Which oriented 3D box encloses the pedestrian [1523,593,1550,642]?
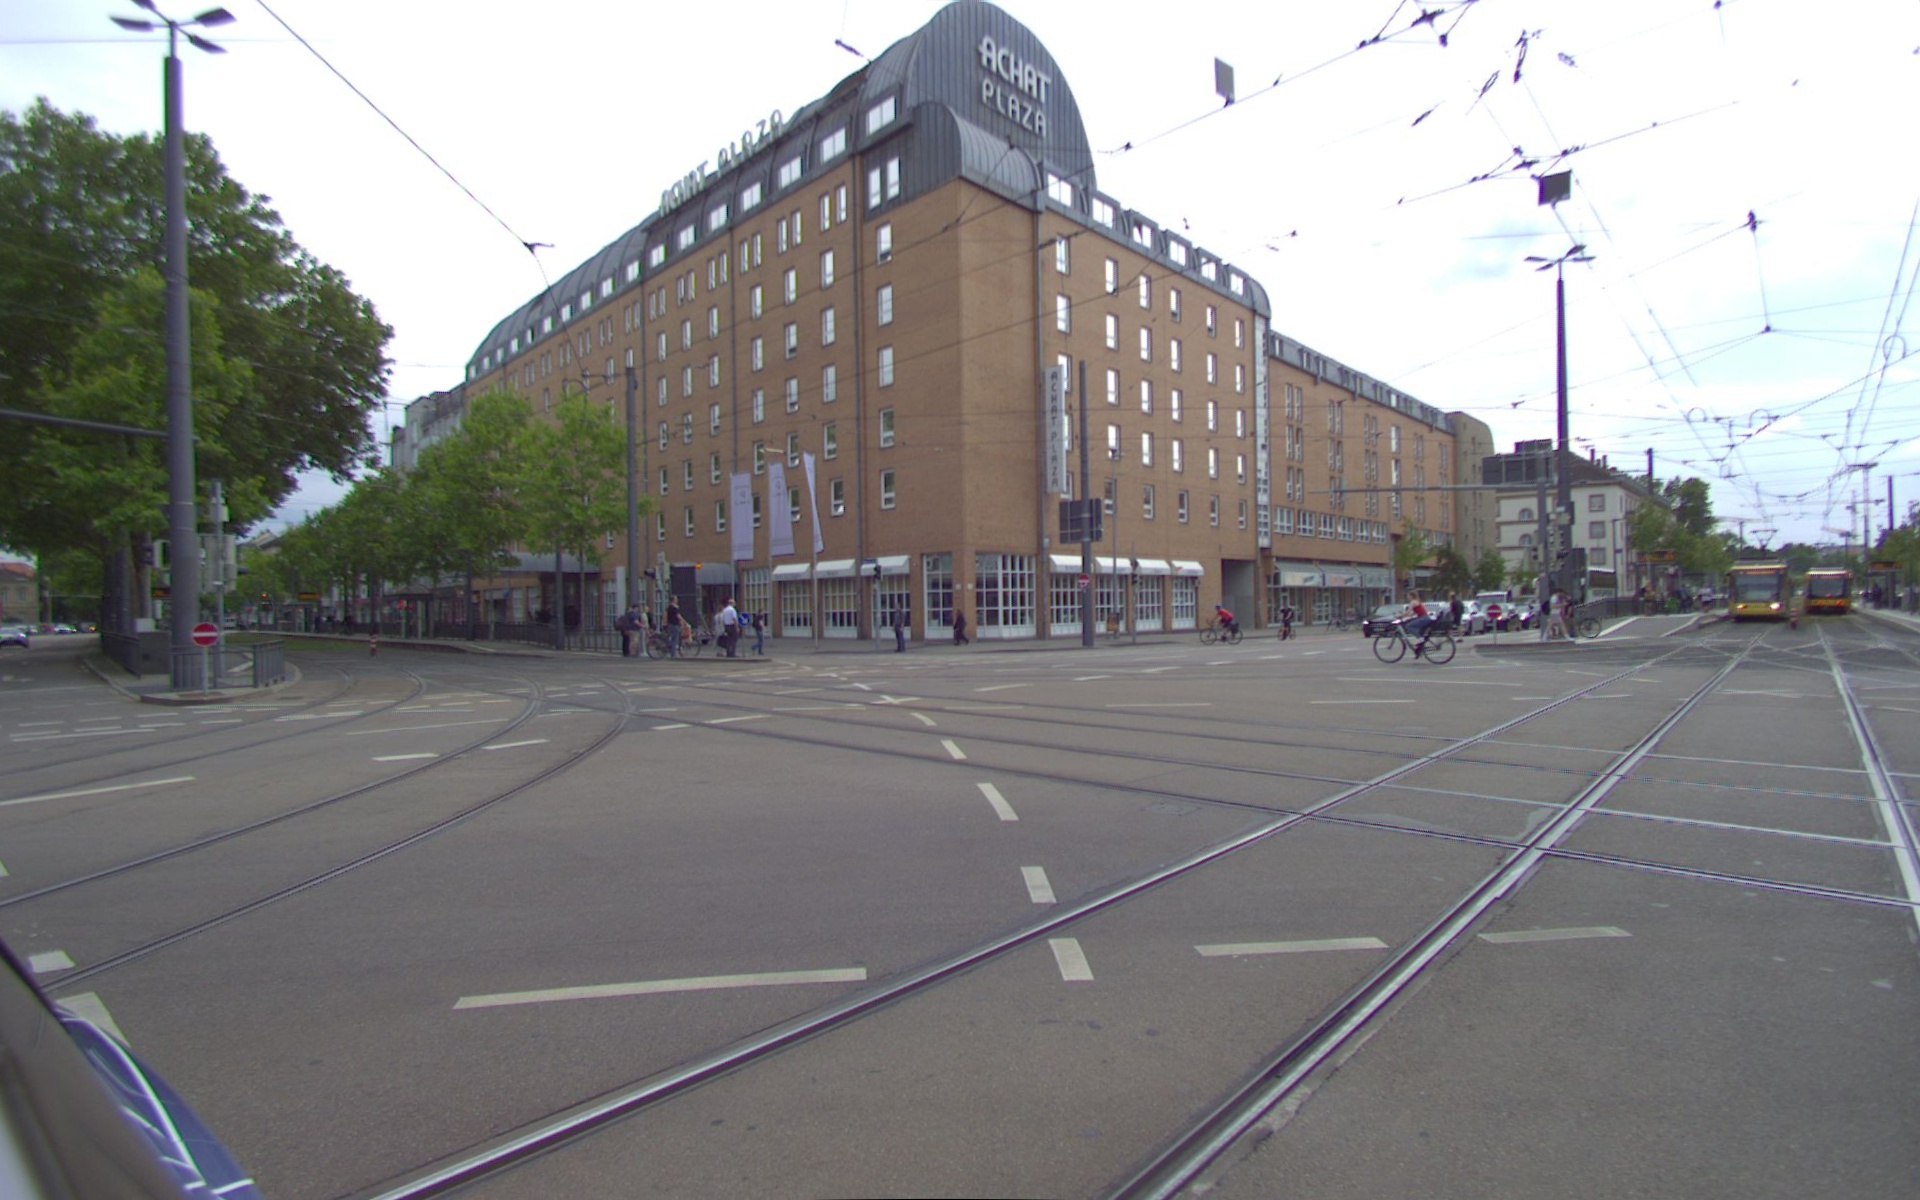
[{"bbox_3d":[21.060,0.639,36.969,0.749,1.745,0.571,-2,-1,36],"label":"pedestrian"}]

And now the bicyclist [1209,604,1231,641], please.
[{"bbox_3d":[10.860,0.944,42.304,0.858,1.512,0.633,-1,-1,17],"label":"bicyclist"}]

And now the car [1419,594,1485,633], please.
[{"bbox_3d":[22.466,0.615,46.143,1.799,1.696,3.947,-2,-1,40],"label":"car"}]

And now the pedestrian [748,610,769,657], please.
[{"bbox_3d":[-7.439,1.229,37.403,0.555,1.719,0.535,0,-1,-44],"label":"pedestrian"}]

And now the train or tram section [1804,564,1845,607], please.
[{"bbox_3d":[74.061,-1.196,86.704,2.429,3.459,10.379,-3,-2,41],"label":"train or tram section"}]

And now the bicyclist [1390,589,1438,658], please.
[{"bbox_3d":[10.255,0.528,22.858,0.816,1.512,0.643,-2,-1,38],"label":"bicyclist"}]

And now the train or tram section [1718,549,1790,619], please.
[{"bbox_3d":[43.688,-0.829,55.573,2.575,3.477,9.478,-3,-2,41],"label":"train or tram section"}]

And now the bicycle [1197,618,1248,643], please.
[{"bbox_3d":[10.958,1.274,42.266,2.042,1.016,0.636,-1,-1,17],"label":"bicycle"}]

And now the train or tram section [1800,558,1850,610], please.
[{"bbox_3d":[62.441,-1.080,73.089,2.450,3.477,9.478,-3,-2,41],"label":"train or tram section"}]

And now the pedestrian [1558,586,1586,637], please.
[{"bbox_3d":[21.197,0.389,35.060,0.749,1.745,0.571,-2,-1,36],"label":"pedestrian"}]

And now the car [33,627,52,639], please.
[{"bbox_3d":[-138.000,4.908,152.170,3.998,1.722,1.646,-2,-1,41],"label":"car"}]

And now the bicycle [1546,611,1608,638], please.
[{"bbox_3d":[21.793,0.869,35.775,1.791,0.895,0.474,-2,-1,41],"label":"bicycle"}]

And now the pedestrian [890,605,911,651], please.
[{"bbox_3d":[-2.276,1.066,38.431,0.535,1.719,0.556,-2,-1,43],"label":"pedestrian"}]

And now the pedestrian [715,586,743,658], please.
[{"bbox_3d":[-6.974,0.663,30.561,0.533,2.146,0.557,-2,-1,34],"label":"pedestrian"}]

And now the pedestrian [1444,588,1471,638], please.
[{"bbox_3d":[17.789,0.467,36.161,0.749,1.745,0.571,-2,-1,36],"label":"pedestrian"}]

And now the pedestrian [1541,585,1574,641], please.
[{"bbox_3d":[18.900,0.415,32.008,0.751,1.745,0.570,-2,-1,41],"label":"pedestrian"}]

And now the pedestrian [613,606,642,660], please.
[{"bbox_3d":[-10.719,1.064,32.655,0.533,1.719,0.676,-2,-1,34],"label":"pedestrian"}]

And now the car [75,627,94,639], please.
[{"bbox_3d":[-131.274,5.012,151.735,3.998,1.722,1.646,-2,-1,41],"label":"car"}]

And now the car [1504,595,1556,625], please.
[{"bbox_3d":[30.475,0.523,54.096,1.701,1.453,3.947,-3,-1,39],"label":"car"}]

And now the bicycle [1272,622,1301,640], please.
[{"bbox_3d":[15.129,1.445,46.846,0.639,0.787,1.773,-2,-1,40],"label":"bicycle"}]

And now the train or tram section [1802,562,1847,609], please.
[{"bbox_3d":[68.002,-1.122,79.603,2.441,3.466,8.055,-3,-2,41],"label":"train or tram section"}]

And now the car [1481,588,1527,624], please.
[{"bbox_3d":[35.264,0.351,65.508,1.701,2.247,4.771,-2,-1,39],"label":"car"}]

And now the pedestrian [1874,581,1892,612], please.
[{"bbox_3d":[62.117,-0.259,68.122,0.780,2.029,1.213,-3,-1,42],"label":"pedestrian"}]

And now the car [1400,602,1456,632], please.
[{"bbox_3d":[24.515,0.876,52.996,1.701,1.453,3.947,-2,-1,40],"label":"car"}]

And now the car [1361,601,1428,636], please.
[{"bbox_3d":[20.400,0.860,47.490,1.799,1.490,3.947,-3,-1,40],"label":"car"}]

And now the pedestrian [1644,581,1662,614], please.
[{"bbox_3d":[32.605,-0.130,47.630,0.654,1.548,0.486,-2,-1,37],"label":"pedestrian"}]

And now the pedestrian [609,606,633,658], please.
[{"bbox_3d":[-11.491,1.074,34.312,0.533,1.719,0.557,-2,-1,34],"label":"pedestrian"}]

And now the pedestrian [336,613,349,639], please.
[{"bbox_3d":[-41.869,1.784,68.644,0.639,1.719,0.625,-1,-2,-42],"label":"pedestrian"}]

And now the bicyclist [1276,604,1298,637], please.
[{"bbox_3d":[15.156,0.953,46.878,0.636,1.512,0.854,-2,-1,40],"label":"bicyclist"}]

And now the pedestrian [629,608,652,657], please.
[{"bbox_3d":[-11.271,1.133,35.696,0.533,1.719,0.557,-2,-1,34],"label":"pedestrian"}]

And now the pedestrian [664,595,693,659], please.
[{"bbox_3d":[-8.706,0.832,31.293,0.534,1.966,0.684,-2,-1,41],"label":"pedestrian"}]

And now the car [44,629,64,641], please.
[{"bbox_3d":[-133.942,5.147,149.601,3.998,1.722,1.646,-2,-1,41],"label":"car"}]

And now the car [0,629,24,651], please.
[{"bbox_3d":[-67.317,2.845,71.363,1.819,1.387,3.837,-1,-2,-42],"label":"car"}]

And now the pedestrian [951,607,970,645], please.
[{"bbox_3d":[0.018,1.051,40.720,0.642,1.518,0.533,-1,-1,8],"label":"pedestrian"}]

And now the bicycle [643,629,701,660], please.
[{"bbox_3d":[-8.995,1.384,31.660,1.687,0.895,0.500,-1,-1,-45],"label":"bicycle"}]

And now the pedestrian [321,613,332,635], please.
[{"bbox_3d":[-50.311,1.893,80.408,0.638,1.719,0.625,-1,-2,-40],"label":"pedestrian"}]

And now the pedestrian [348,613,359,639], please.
[{"bbox_3d":[-41.345,1.777,68.962,0.543,1.719,0.625,-1,-2,-42],"label":"pedestrian"}]

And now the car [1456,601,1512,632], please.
[{"bbox_3d":[26.442,0.817,50.992,1.701,1.453,3.947,-2,-1,40],"label":"car"}]

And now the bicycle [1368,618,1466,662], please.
[{"bbox_3d":[10.291,0.891,22.830,1.891,0.943,0.650,-2,-1,39],"label":"bicycle"}]

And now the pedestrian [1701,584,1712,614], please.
[{"bbox_3d":[44.141,-0.038,59.827,0.492,1.745,0.537,-2,-1,39],"label":"pedestrian"}]

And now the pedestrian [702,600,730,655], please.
[{"bbox_3d":[-7.613,0.854,31.574,0.577,1.719,0.557,-2,-1,34],"label":"pedestrian"}]

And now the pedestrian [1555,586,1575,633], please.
[{"bbox_3d":[22.828,0.359,38.187,0.576,1.745,0.625,-2,-1,32],"label":"pedestrian"}]

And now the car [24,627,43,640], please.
[{"bbox_3d":[-135.166,4.872,147.611,3.998,1.722,1.646,-2,-1,41],"label":"car"}]

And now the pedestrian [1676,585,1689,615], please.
[{"bbox_3d":[41.850,-0.008,58.622,0.542,1.745,0.487,-2,-1,33],"label":"pedestrian"}]
